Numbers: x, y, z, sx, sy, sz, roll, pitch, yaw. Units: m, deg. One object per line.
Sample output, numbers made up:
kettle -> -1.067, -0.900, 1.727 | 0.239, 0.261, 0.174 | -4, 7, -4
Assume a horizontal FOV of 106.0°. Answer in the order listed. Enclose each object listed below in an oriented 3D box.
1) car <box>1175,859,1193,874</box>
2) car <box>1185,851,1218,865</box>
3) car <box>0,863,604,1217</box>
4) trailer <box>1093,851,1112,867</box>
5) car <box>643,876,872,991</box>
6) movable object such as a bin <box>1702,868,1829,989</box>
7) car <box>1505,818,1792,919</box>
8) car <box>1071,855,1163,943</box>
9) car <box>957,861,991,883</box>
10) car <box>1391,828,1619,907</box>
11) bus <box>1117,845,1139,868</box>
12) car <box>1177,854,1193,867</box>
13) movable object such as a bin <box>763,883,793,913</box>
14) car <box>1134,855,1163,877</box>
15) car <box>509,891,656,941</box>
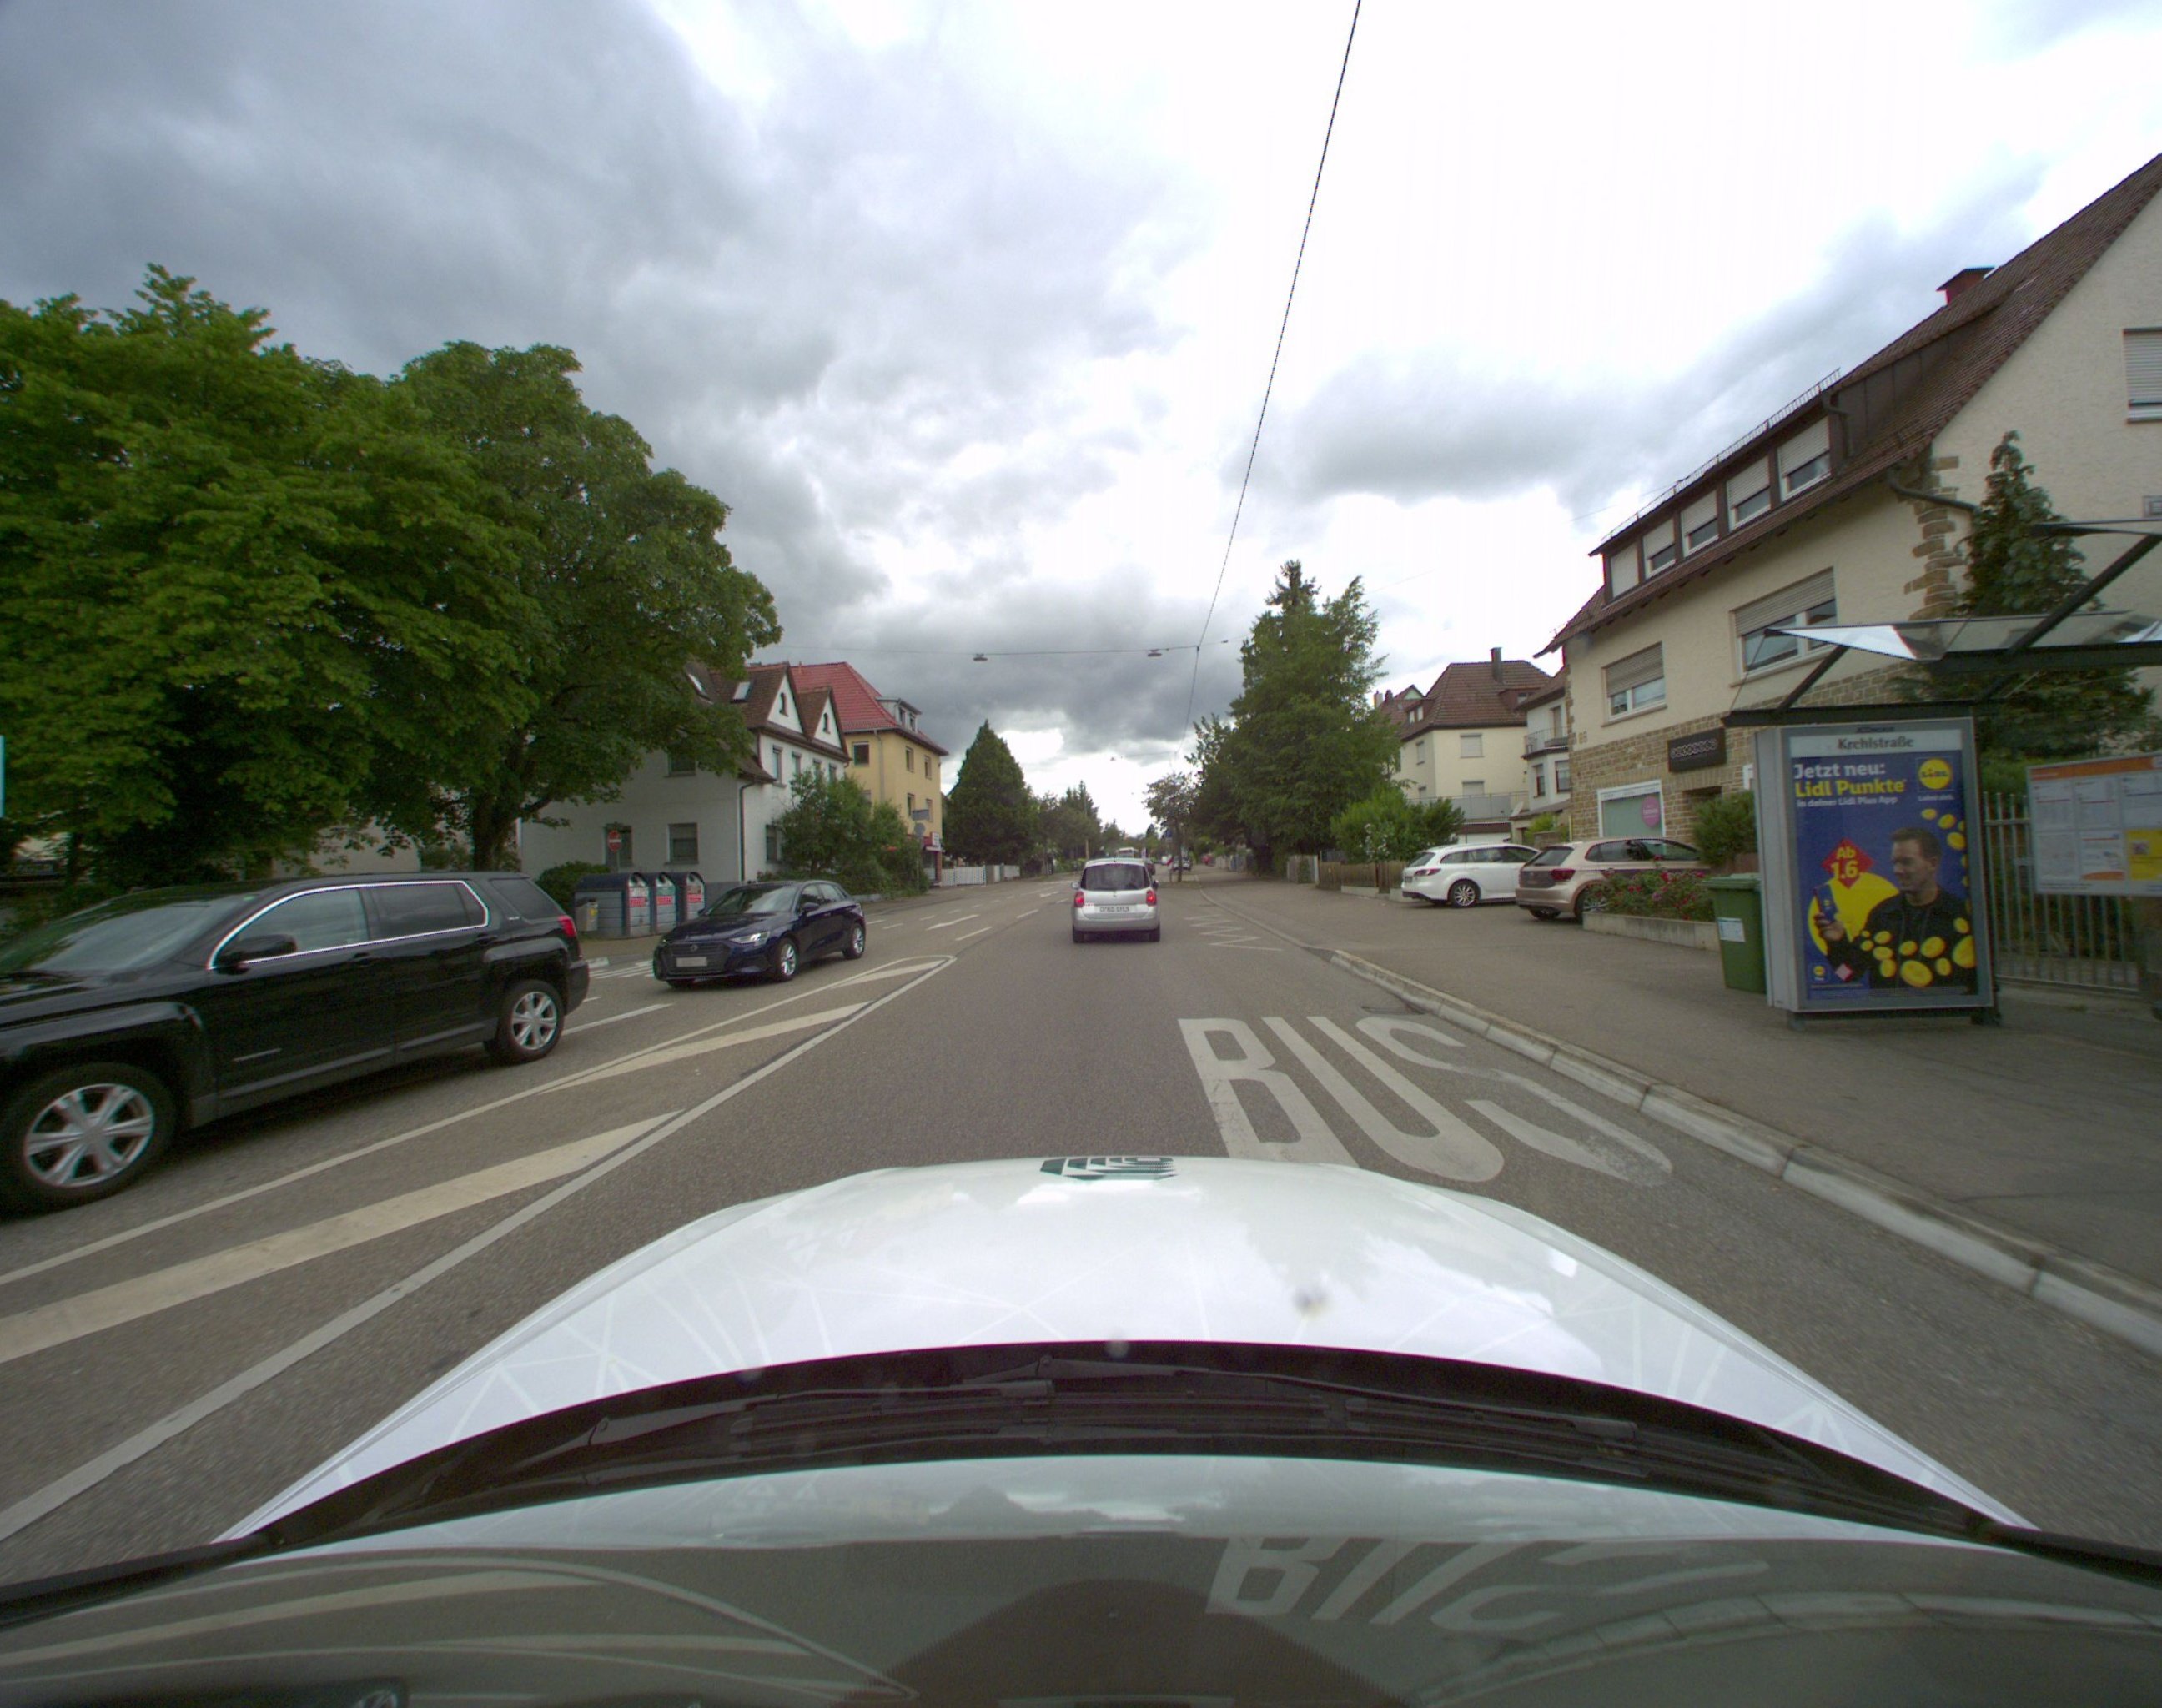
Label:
car -> 9.726, 1.184, 76.772 | 1.641, 1.382, 4.008 | -2, -2, 7
car -> 16.056, 0.587, 108.878 | 3.977, 1.496, 1.809 | -6, -1, -2
car -> -5.726, 0.969, 5.587 | 1.749, 1.635, 4.602 | -5, -2, 6
trailer -> 3.175, 0.723, 117.078 | 2.301, 2.087, 5.881 | -1, -1, 5
car -> -4.805, 1.105, 12.786 | 1.556, 1.420, 4.136 | -3, -2, 5
movable object such as a bin -> 6.235, 0.658, 7.442 | 0.634, 1.046, 0.585 | -1, -2, -2
car -> 9.787, 0.262, 14.271 | 3.789, 1.402, 1.641 | -4, -2, 1
car -> 0.749, 0.862, 16.726 | 1.623, 1.557, 4.002 | -1, -1, 3
car -> -8.717, 1.457, 66.504 | 1.799, 1.564, 4.622 | -5, 0, 3
car -> 10.026, 0.331, 19.550 | 4.399, 1.488, 1.867 | -4, -2, 5
bus -> 7.267, 0.375, 125.171 | 2.619, 3.086, 12.088 | -4, -1, 6
car -> 12.204, 0.746, 95.611 | 1.653, 1.393, 3.677 | -3, 0, 9
movable object such as a bin -> -10.860, 1.571, 29.214 | 0.711, 1.019, 0.727 | 1, 2, 38
car -> 5.687, 0.973, 68.104 | 1.816, 1.675, 3.587 | -3, -1, 14
car -> -17.041, 2.096, 27.950 | 3.969, 1.332, 1.724 | -5, -2, 4
